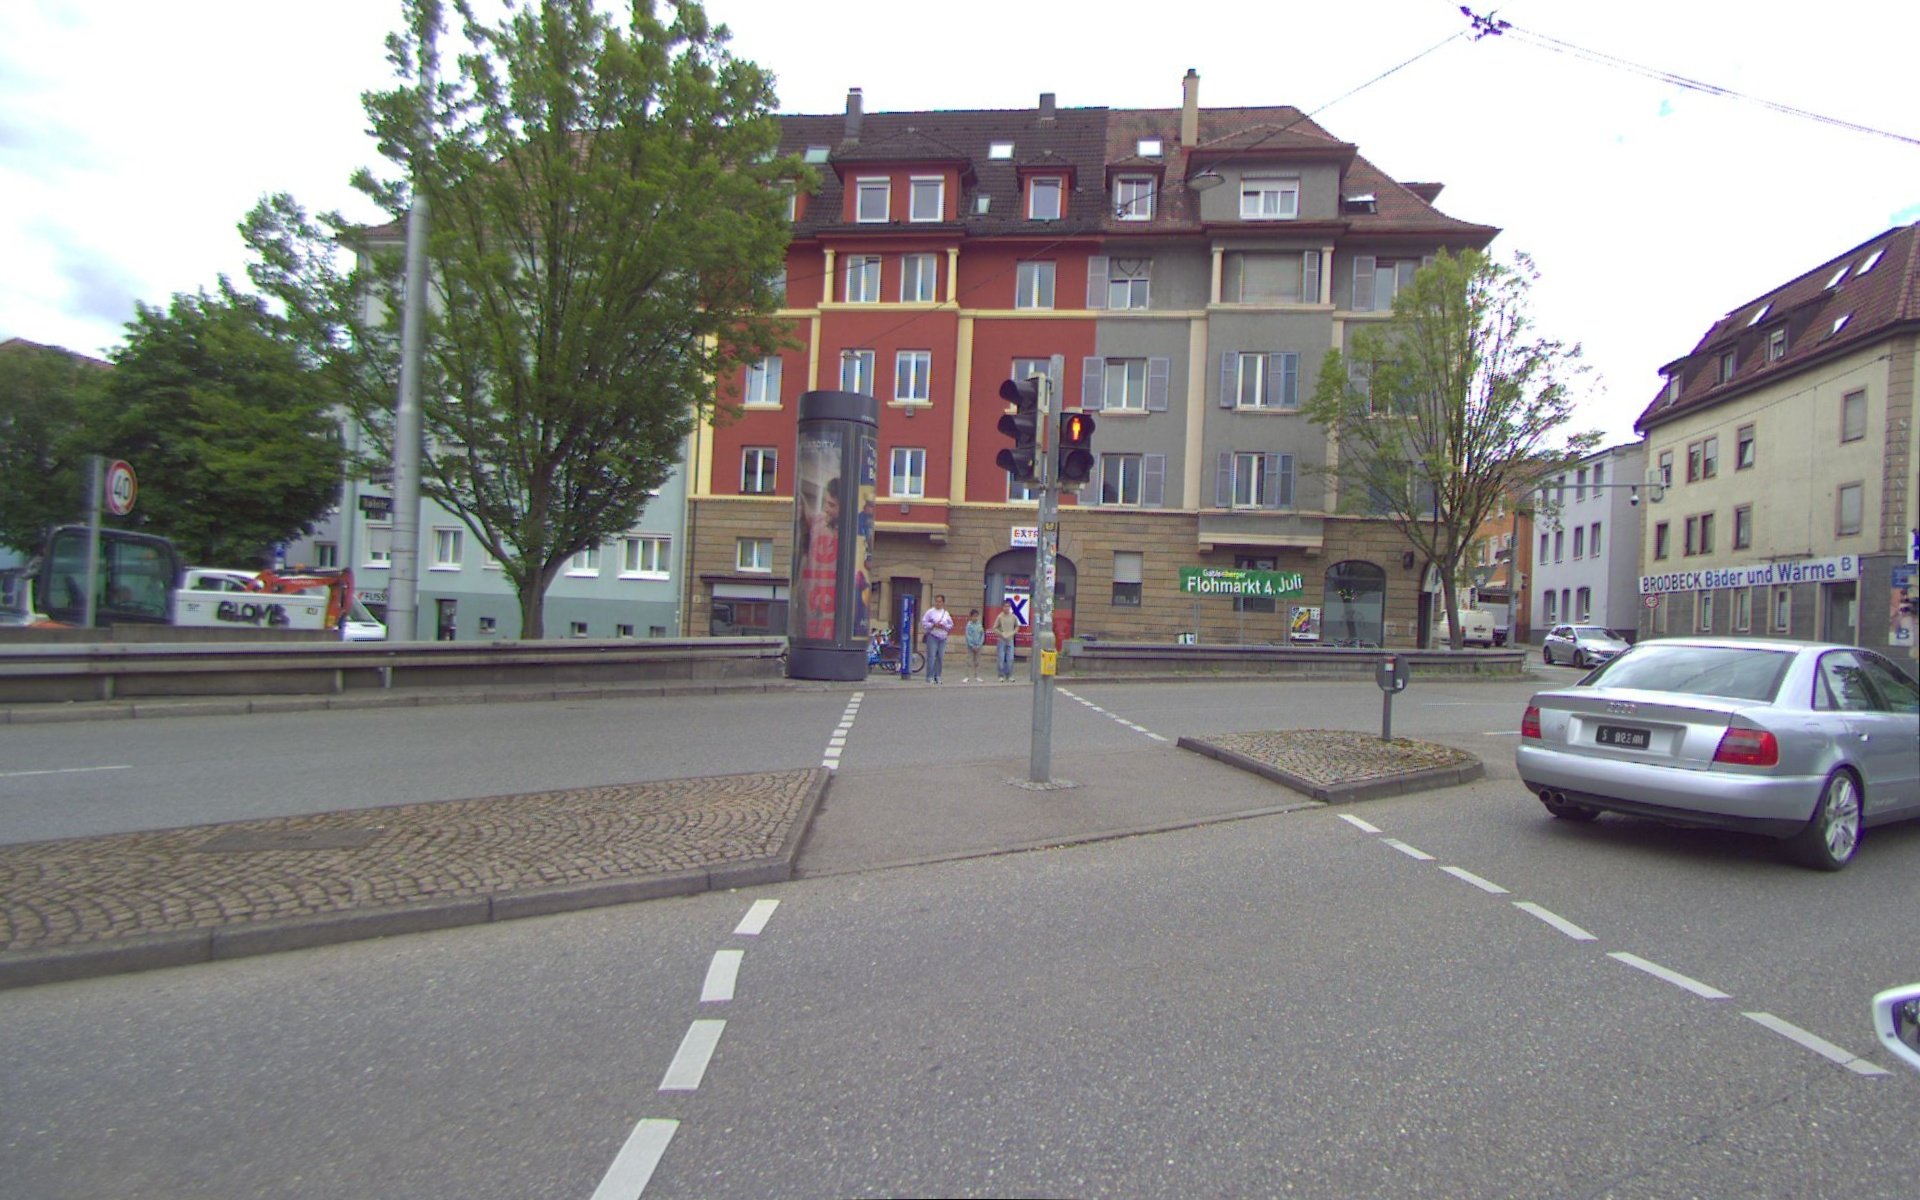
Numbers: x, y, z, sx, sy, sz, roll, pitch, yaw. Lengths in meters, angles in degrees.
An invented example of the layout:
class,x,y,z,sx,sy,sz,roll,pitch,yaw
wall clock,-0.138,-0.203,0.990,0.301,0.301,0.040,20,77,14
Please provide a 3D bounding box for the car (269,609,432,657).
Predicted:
class,x,y,z,sx,sy,sz,roll,pitch,yaw
car,-19.450,1.031,32.194,1.764,1.388,4.136,2,0,41

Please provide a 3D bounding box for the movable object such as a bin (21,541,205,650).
class,x,y,z,sx,sy,sz,roll,pitch,yaw
movable object such as a bin,-18.823,-0.110,22.682,2.371,2.099,6.195,2,0,-33

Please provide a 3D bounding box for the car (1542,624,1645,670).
class,x,y,z,sx,sy,sz,roll,pitch,yaw
car,22.996,1.670,36.640,1.842,1.489,3.978,2,-1,12

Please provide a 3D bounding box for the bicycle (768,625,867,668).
class,x,y,z,sx,sy,sz,roll,pitch,yaw
bicycle,-4.230,1.387,29.990,2.800,1.218,0.813,2,0,-29

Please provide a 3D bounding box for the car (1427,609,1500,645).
class,x,y,z,sx,sy,sz,roll,pitch,yaw
car,27.679,1.440,55.365,2.023,1.823,4.337,1,0,3

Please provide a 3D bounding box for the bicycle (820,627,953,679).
class,x,y,z,sx,sy,sz,roll,pitch,yaw
bicycle,-1.836,1.331,25.406,3.317,1.218,0.813,2,0,-29

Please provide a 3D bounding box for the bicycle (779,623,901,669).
class,x,y,z,sx,sy,sz,roll,pitch,yaw
bicycle,-3.355,1.293,28.319,3.317,1.218,0.899,2,0,-29

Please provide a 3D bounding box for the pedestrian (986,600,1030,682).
class,x,y,z,sx,sy,sz,roll,pitch,yaw
pedestrian,0.896,0.766,18.936,0.644,1.507,0.521,1,1,-22

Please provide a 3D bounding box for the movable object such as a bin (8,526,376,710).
class,x,y,z,sx,sy,sz,roll,pitch,yaw
movable object such as a bin,-9.734,0.214,12.979,1.356,2.040,3.525,1,0,34

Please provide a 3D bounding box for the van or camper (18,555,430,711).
class,x,y,z,sx,sy,sz,roll,pitch,yaw
van or camper,-13.020,0.509,17.960,5.884,2.369,2.690,2,0,12

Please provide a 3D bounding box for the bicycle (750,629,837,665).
class,x,y,z,sx,sy,sz,roll,pitch,yaw
bicycle,-5.281,1.502,31.952,2.629,1.084,0.630,2,0,-28

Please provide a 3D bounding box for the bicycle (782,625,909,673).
class,x,y,z,sx,sy,sz,roll,pitch,yaw
bicycle,-3.077,1.318,27.228,3.317,1.218,0.899,2,0,-29

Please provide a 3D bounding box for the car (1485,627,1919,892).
class,x,y,z,sx,sy,sz,roll,pitch,yaw
car,5.842,0.945,7.273,4.078,1.383,1.621,1,1,-29

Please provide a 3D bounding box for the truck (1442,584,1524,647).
class,x,y,z,sx,sy,sz,roll,pitch,yaw
truck,30.856,0.864,59.465,2.644,3.399,5.442,3,1,10

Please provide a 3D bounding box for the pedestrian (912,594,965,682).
class,x,y,z,sx,sy,sz,roll,pitch,yaw
pedestrian,-0.404,0.680,18.474,0.727,1.567,0.791,1,1,-21

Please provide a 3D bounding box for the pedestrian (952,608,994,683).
class,x,y,z,sx,sy,sz,roll,pitch,yaw
pedestrian,0.240,0.835,18.736,0.575,1.356,0.573,1,0,-21

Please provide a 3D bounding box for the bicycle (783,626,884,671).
class,x,y,z,sx,sy,sz,roll,pitch,yaw
bicycle,-3.673,1.408,29.299,2.800,1.218,0.813,2,0,-29

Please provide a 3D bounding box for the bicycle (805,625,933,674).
class,x,y,z,sx,sy,sz,roll,pitch,yaw
bicycle,-2.368,1.295,26.471,3.317,1.218,0.813,2,0,-29
